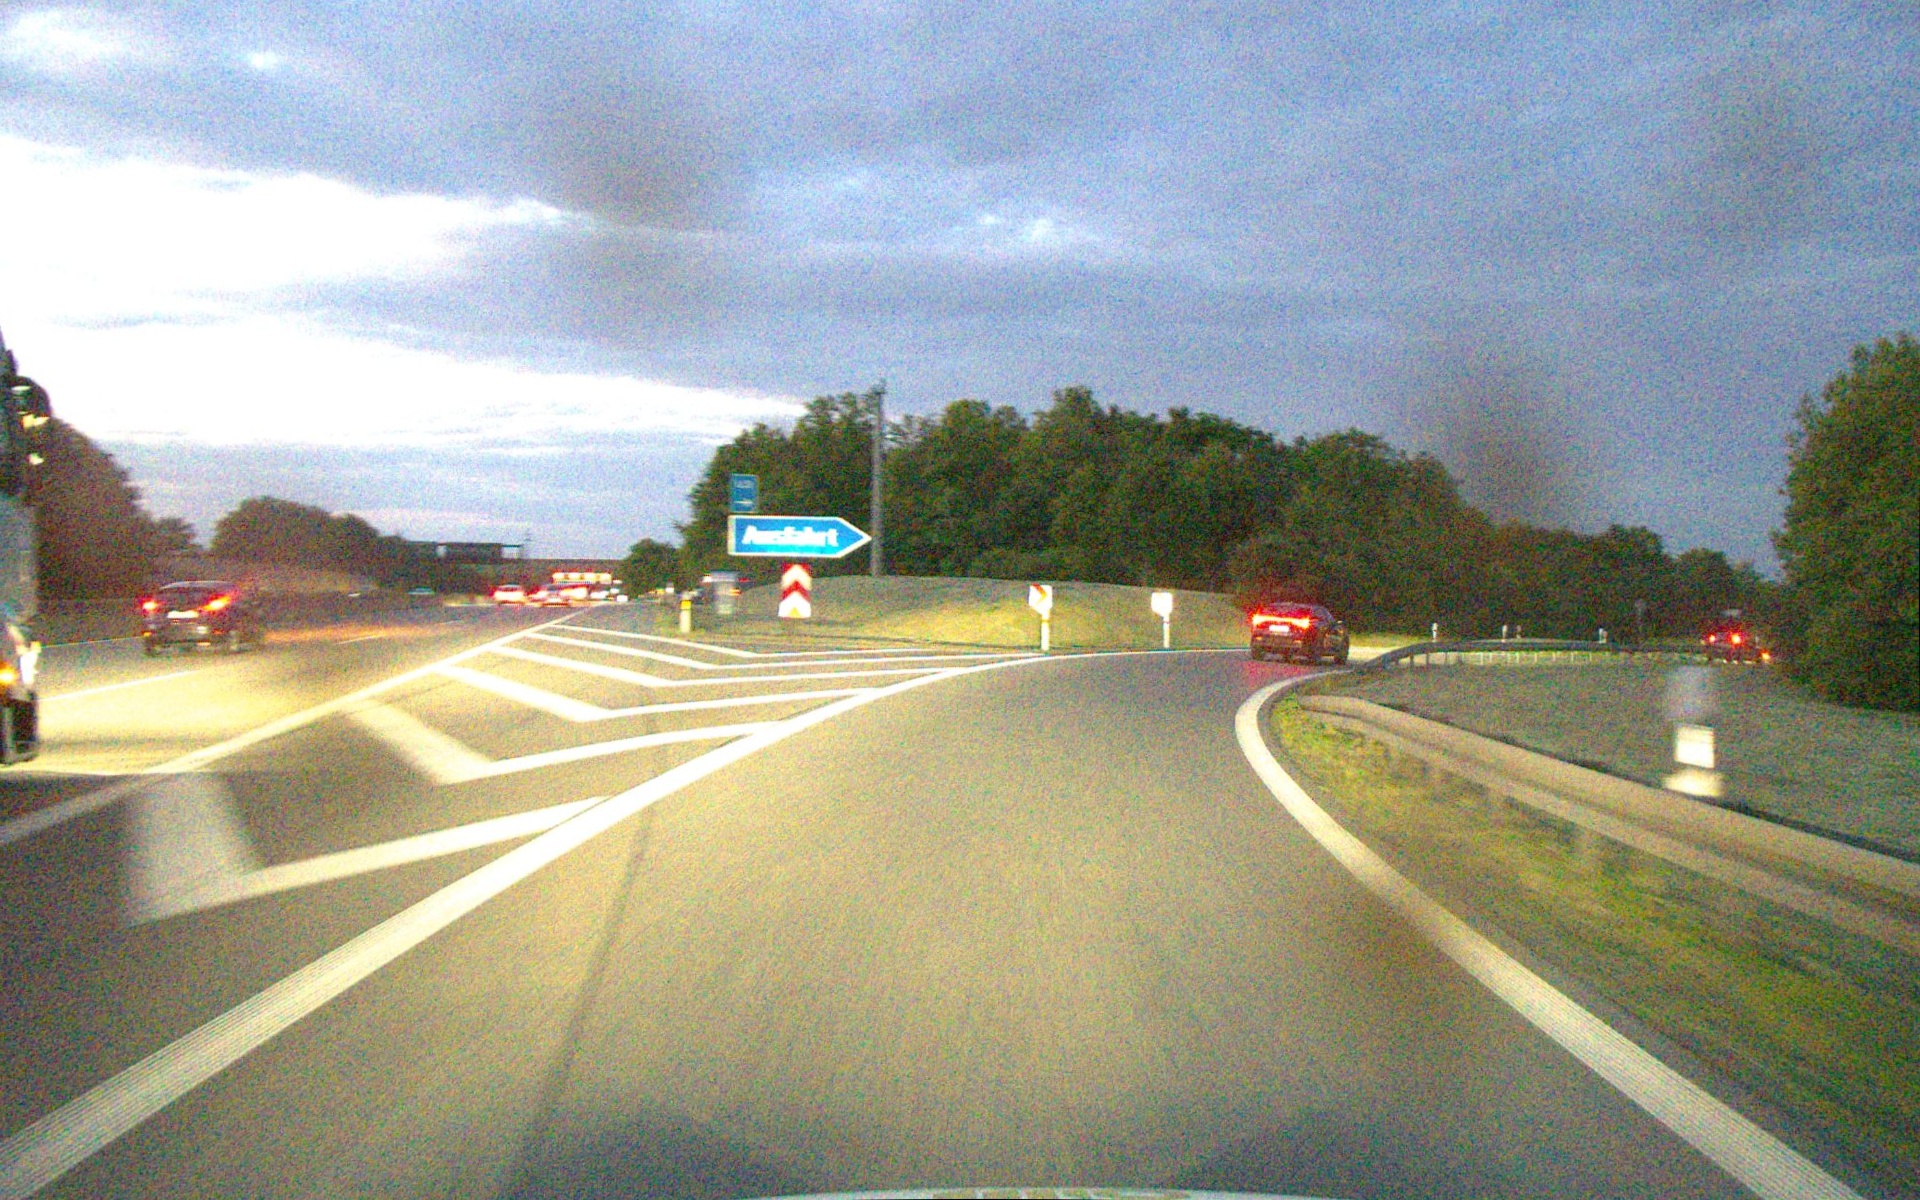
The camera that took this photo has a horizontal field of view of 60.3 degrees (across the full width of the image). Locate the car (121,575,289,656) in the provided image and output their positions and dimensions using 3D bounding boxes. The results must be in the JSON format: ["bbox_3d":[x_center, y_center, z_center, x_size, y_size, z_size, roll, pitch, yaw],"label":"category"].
[{"bbox_3d":[-15.509,0.262,34.240,1.956,1.524,4.540,0,1,-8],"label":"car"}]

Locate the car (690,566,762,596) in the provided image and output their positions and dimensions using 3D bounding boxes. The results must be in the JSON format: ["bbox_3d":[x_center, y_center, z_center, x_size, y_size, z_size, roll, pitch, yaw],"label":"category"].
[{"bbox_3d":[-17.182,-1.419,121.329,5.039,2.049,2.262,2,1,34],"label":"car"}]

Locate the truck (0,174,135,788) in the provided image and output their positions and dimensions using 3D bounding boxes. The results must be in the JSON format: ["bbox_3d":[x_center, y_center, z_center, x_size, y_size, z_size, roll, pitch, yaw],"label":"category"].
[{"bbox_3d":[-7.447,-0.745,9.865,2.728,3.969,6.142,-1,1,-9],"label":"truck"}]

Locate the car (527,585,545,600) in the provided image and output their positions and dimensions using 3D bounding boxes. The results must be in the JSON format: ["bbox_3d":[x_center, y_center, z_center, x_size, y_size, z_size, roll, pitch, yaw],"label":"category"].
[{"bbox_3d":[-59.133,-1.050,230.595,2.072,2.048,3.980,-2,1,-18],"label":"car"}]

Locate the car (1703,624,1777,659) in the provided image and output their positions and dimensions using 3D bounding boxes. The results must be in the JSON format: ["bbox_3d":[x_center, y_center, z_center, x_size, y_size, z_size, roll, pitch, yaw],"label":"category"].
[{"bbox_3d":[38.878,2.033,82.451,3.966,1.626,1.969,1,1,-43],"label":"car"}]

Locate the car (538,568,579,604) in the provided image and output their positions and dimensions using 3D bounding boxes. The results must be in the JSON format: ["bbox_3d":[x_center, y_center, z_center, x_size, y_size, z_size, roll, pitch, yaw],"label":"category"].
[{"bbox_3d":[-23.901,-0.859,98.502,1.956,2.049,3.993,0,1,-8],"label":"car"}]

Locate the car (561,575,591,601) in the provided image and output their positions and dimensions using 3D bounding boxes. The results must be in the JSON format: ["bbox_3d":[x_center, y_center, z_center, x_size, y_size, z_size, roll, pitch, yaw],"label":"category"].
[{"bbox_3d":[-31.469,-1.009,135.555,1.956,2.048,3.994,-1,1,-7],"label":"car"}]

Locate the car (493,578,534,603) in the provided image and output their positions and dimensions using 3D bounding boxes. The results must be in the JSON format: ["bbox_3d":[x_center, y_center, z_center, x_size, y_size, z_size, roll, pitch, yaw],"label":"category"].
[{"bbox_3d":[-31.469,-0.665,116.608,1.954,1.671,4.551,-1,1,-4],"label":"car"}]

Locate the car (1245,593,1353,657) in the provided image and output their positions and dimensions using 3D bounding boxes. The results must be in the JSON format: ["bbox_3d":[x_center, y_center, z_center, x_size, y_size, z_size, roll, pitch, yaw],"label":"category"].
[{"bbox_3d":[9.479,0.727,46.001,1.954,1.688,4.310,-1,-2,26],"label":"car"}]
